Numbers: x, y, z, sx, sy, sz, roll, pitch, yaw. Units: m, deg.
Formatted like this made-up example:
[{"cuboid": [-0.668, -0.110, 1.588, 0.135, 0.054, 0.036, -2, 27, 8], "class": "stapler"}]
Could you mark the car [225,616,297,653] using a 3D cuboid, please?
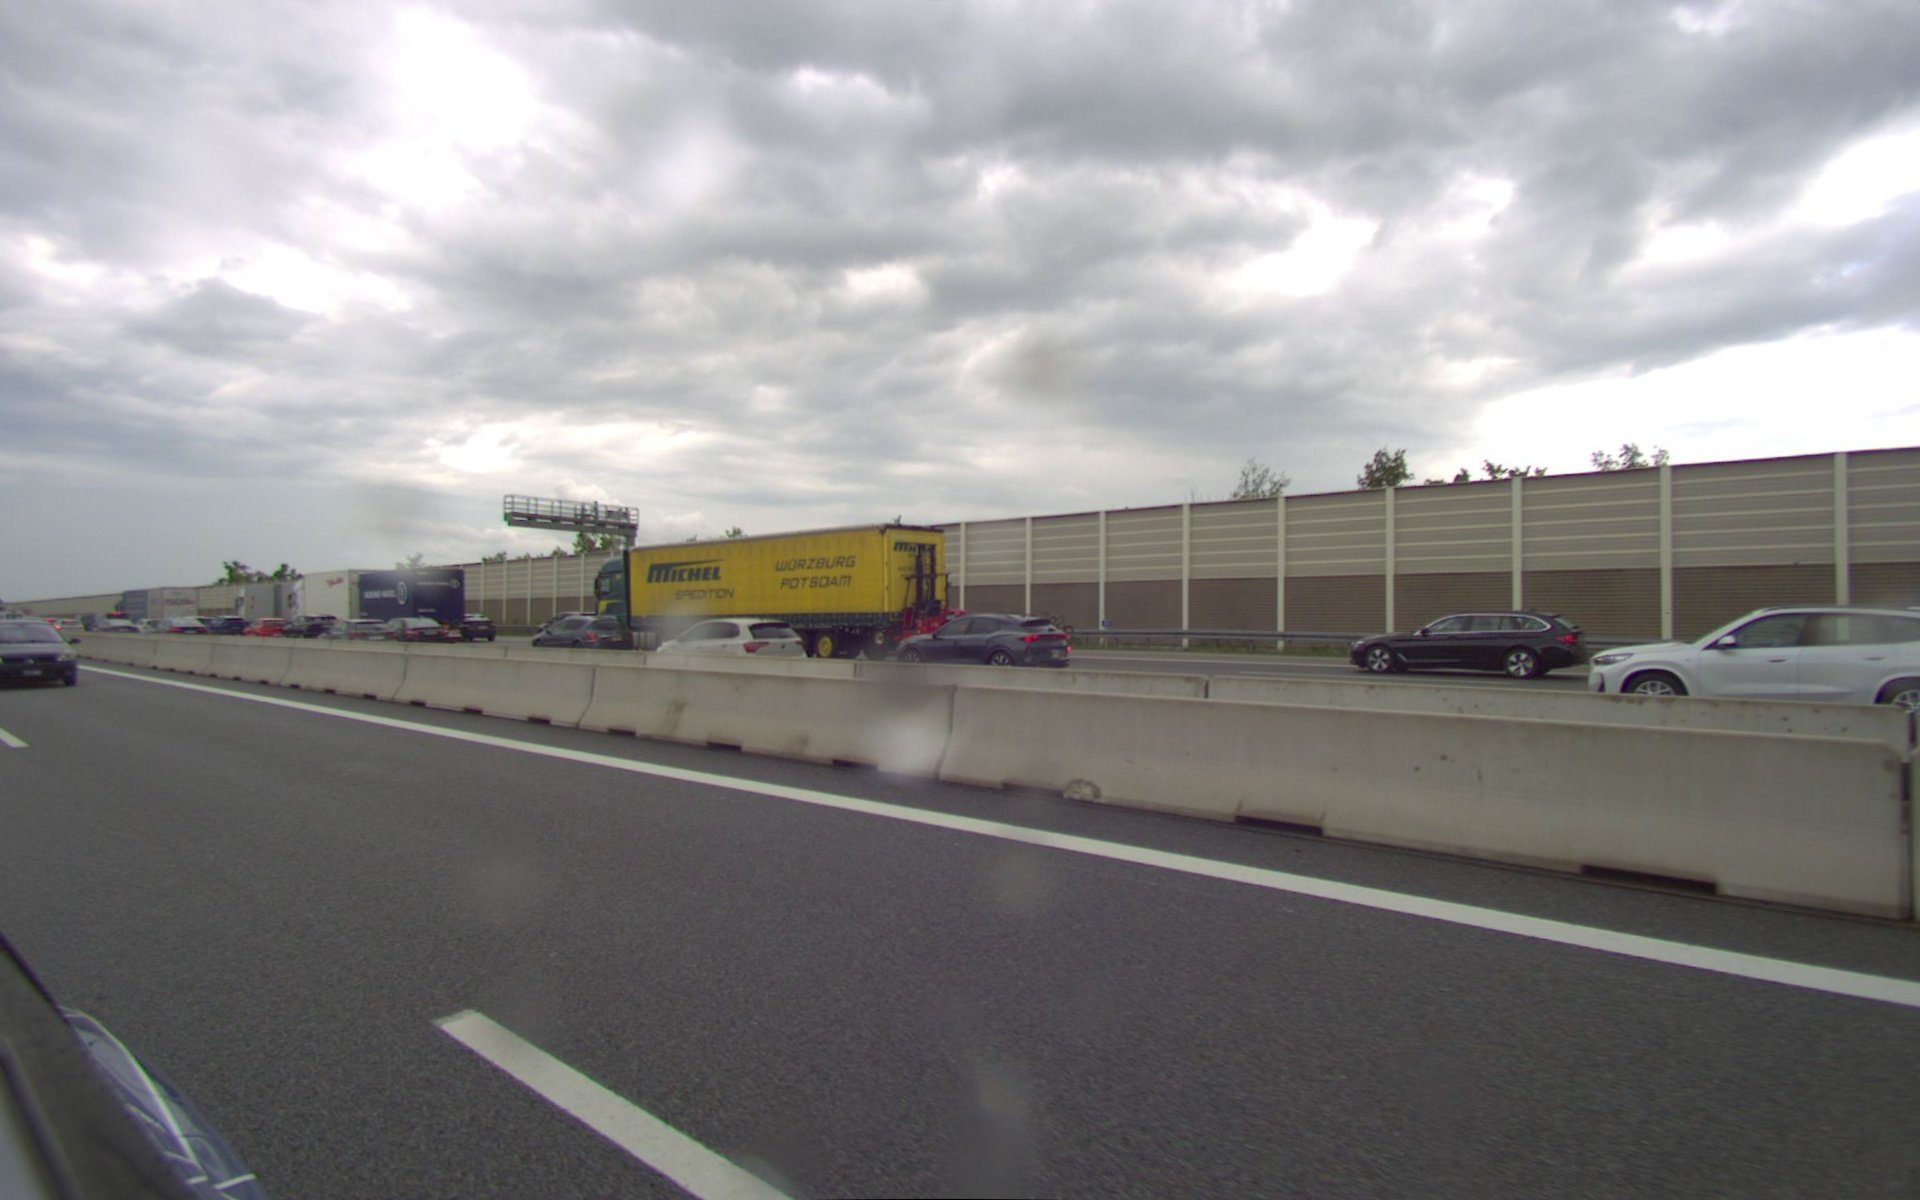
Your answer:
[{"cuboid": [-40.872, 1.989, 59.120, 5.803, 2.017, 2.040, -1, -1, 40], "class": "car"}]

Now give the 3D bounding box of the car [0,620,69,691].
[{"cuboid": [-20.669, 1.149, 21.944, 3.999, 1.413, 1.558, -1, 0, 42], "class": "car"}]

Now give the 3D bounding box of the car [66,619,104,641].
[{"cuboid": [-79.263, 2.675, 91.649, 5.429, 1.911, 1.913, -1, -1, 41], "class": "car"}]

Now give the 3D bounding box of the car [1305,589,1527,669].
[{"cuboid": [10.716, 0.656, 23.954, 4.407, 1.712, 2.040, -1, -1, 40], "class": "car"}]

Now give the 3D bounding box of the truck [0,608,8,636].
[{"cuboid": [-173.927, 3.901, 180.911, 17.212, 4.894, 3.405, -1, -1, 40], "class": "truck"}]

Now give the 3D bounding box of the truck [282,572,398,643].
[{"cuboid": [-37.461, 0.499, 60.929, 11.062, 3.975, 2.907, -1, -1, 42], "class": "truck"}]

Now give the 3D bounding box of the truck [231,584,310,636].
[{"cuboid": [-55.559, 0.835, 81.402, 10.493, 3.928, 2.659, -1, -1, 41], "class": "truck"}]

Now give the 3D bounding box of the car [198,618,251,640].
[{"cuboid": [-55.824, 2.180, 76.765, 5.804, 1.612, 2.039, -1, -1, 41], "class": "car"}]

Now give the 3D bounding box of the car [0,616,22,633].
[{"cuboid": [-95.318, 2.436, 101.130, 4.205, 1.644, 1.794, -1, -1, 39], "class": "car"}]

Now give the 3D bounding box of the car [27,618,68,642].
[{"cuboid": [-76.581, 2.495, 84.879, 5.429, 1.911, 1.913, -1, -1, 41], "class": "car"}]

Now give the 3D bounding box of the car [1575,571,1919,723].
[{"cuboid": [11.250, 0.583, 13.674, 4.774, 1.830, 2.040, -1, -1, 40], "class": "car"}]

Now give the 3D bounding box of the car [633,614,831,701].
[{"cuboid": [-5.111, 1.189, 22.436, 4.407, 1.712, 2.040, -1, -1, 40], "class": "car"}]

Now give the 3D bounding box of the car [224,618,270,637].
[{"cuboid": [-63.374, 2.433, 89.931, 5.804, 1.612, 2.039, -1, -1, 41], "class": "car"}]

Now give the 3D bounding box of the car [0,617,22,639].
[{"cuboid": [-114.074, 3.324, 121.086, 5.142, 2.492, 2.006, -1, -1, 38], "class": "car"}]

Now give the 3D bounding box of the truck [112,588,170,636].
[{"cuboid": [-75.957, 1.134, 93.799, 6.688, 4.277, 3.039, -1, -1, 40], "class": "truck"}]

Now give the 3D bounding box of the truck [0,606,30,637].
[{"cuboid": [-151.927, 3.412, 161.898, 11.686, 4.894, 3.185, -1, -1, 40], "class": "truck"}]

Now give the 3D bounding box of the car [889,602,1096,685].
[{"cuboid": [0.679, 0.933, 23.113, 4.407, 1.712, 2.040, -1, -1, 40], "class": "car"}]

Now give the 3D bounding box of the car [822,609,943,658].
[{"cuboid": [-2.983, 1.240, 38.279, 4.407, 1.712, 2.040, -1, -1, 40], "class": "car"}]

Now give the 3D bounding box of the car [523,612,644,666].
[{"cuboid": [-13.030, 1.305, 34.929, 4.407, 1.712, 2.040, -1, -1, 40], "class": "car"}]

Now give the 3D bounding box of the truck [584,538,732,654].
[{"cuboid": [-11.507, -0.120, 38.338, 5.722, 4.065, 2.716, -1, -1, 41], "class": "truck"}]

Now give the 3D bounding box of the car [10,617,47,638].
[{"cuboid": [-85.086, 2.488, 92.450, 5.423, 1.905, 1.899, -1, -1, 41], "class": "car"}]

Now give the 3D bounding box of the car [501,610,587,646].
[{"cuboid": [-21.273, 1.422, 51.637, 4.954, 1.736, 2.040, -1, -1, 40], "class": "car"}]

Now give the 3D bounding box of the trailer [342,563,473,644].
[{"cuboid": [-29.567, 0.267, 53.865, 10.115, 3.969, 2.900, -1, -1, 42], "class": "trailer"}]

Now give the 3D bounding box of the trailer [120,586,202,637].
[{"cuboid": [-70.423, 1.028, 88.994, 14.307, 4.192, 3.027, -1, -1, 41], "class": "trailer"}]

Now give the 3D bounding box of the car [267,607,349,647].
[{"cuboid": [-34.319, 1.403, 53.178, 5.803, 2.017, 2.040, -1, -1, 40], "class": "car"}]

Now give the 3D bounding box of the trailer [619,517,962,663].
[{"cuboid": [-6.284, -0.209, 33.810, 14.444, 4.062, 2.733, -1, -1, 41], "class": "trailer"}]

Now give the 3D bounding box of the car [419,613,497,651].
[{"cuboid": [-28.481, 1.773, 57.299, 5.293, 2.017, 2.040, -1, -1, 40], "class": "car"}]

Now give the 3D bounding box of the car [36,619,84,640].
[{"cuboid": [-69.071, 2.251, 77.662, 5.804, 1.576, 2.039, -1, -1, 41], "class": "car"}]

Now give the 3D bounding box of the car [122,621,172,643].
[{"cuboid": [-61.911, 2.402, 77.033, 5.804, 1.612, 2.039, -1, -1, 41], "class": "car"}]

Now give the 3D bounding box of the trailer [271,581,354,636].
[{"cuboid": [-48.004, 0.663, 74.897, 9.278, 3.901, 2.694, -1, -1, 41], "class": "trailer"}]

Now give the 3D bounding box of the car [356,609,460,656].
[{"cuboid": [-24.146, 1.379, 44.151, 5.803, 1.907, 2.040, -1, -1, 40], "class": "car"}]

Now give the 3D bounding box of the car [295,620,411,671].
[{"cuboid": [-23.082, 1.677, 38.384, 5.803, 1.768, 2.040, -1, -1, 40], "class": "car"}]

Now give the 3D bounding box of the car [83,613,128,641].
[{"cuboid": [-70.521, 2.226, 83.487, 5.429, 2.175, 2.039, -1, -1, 41], "class": "car"}]

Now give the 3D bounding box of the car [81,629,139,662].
[{"cuboid": [-56.238, 2.961, 66.930, 5.803, 2.017, 2.040, -1, -1, 40], "class": "car"}]

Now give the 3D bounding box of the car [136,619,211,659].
[{"cuboid": [-42.711, 2.067, 54.904, 5.803, 2.017, 2.040, -1, -1, 40], "class": "car"}]
